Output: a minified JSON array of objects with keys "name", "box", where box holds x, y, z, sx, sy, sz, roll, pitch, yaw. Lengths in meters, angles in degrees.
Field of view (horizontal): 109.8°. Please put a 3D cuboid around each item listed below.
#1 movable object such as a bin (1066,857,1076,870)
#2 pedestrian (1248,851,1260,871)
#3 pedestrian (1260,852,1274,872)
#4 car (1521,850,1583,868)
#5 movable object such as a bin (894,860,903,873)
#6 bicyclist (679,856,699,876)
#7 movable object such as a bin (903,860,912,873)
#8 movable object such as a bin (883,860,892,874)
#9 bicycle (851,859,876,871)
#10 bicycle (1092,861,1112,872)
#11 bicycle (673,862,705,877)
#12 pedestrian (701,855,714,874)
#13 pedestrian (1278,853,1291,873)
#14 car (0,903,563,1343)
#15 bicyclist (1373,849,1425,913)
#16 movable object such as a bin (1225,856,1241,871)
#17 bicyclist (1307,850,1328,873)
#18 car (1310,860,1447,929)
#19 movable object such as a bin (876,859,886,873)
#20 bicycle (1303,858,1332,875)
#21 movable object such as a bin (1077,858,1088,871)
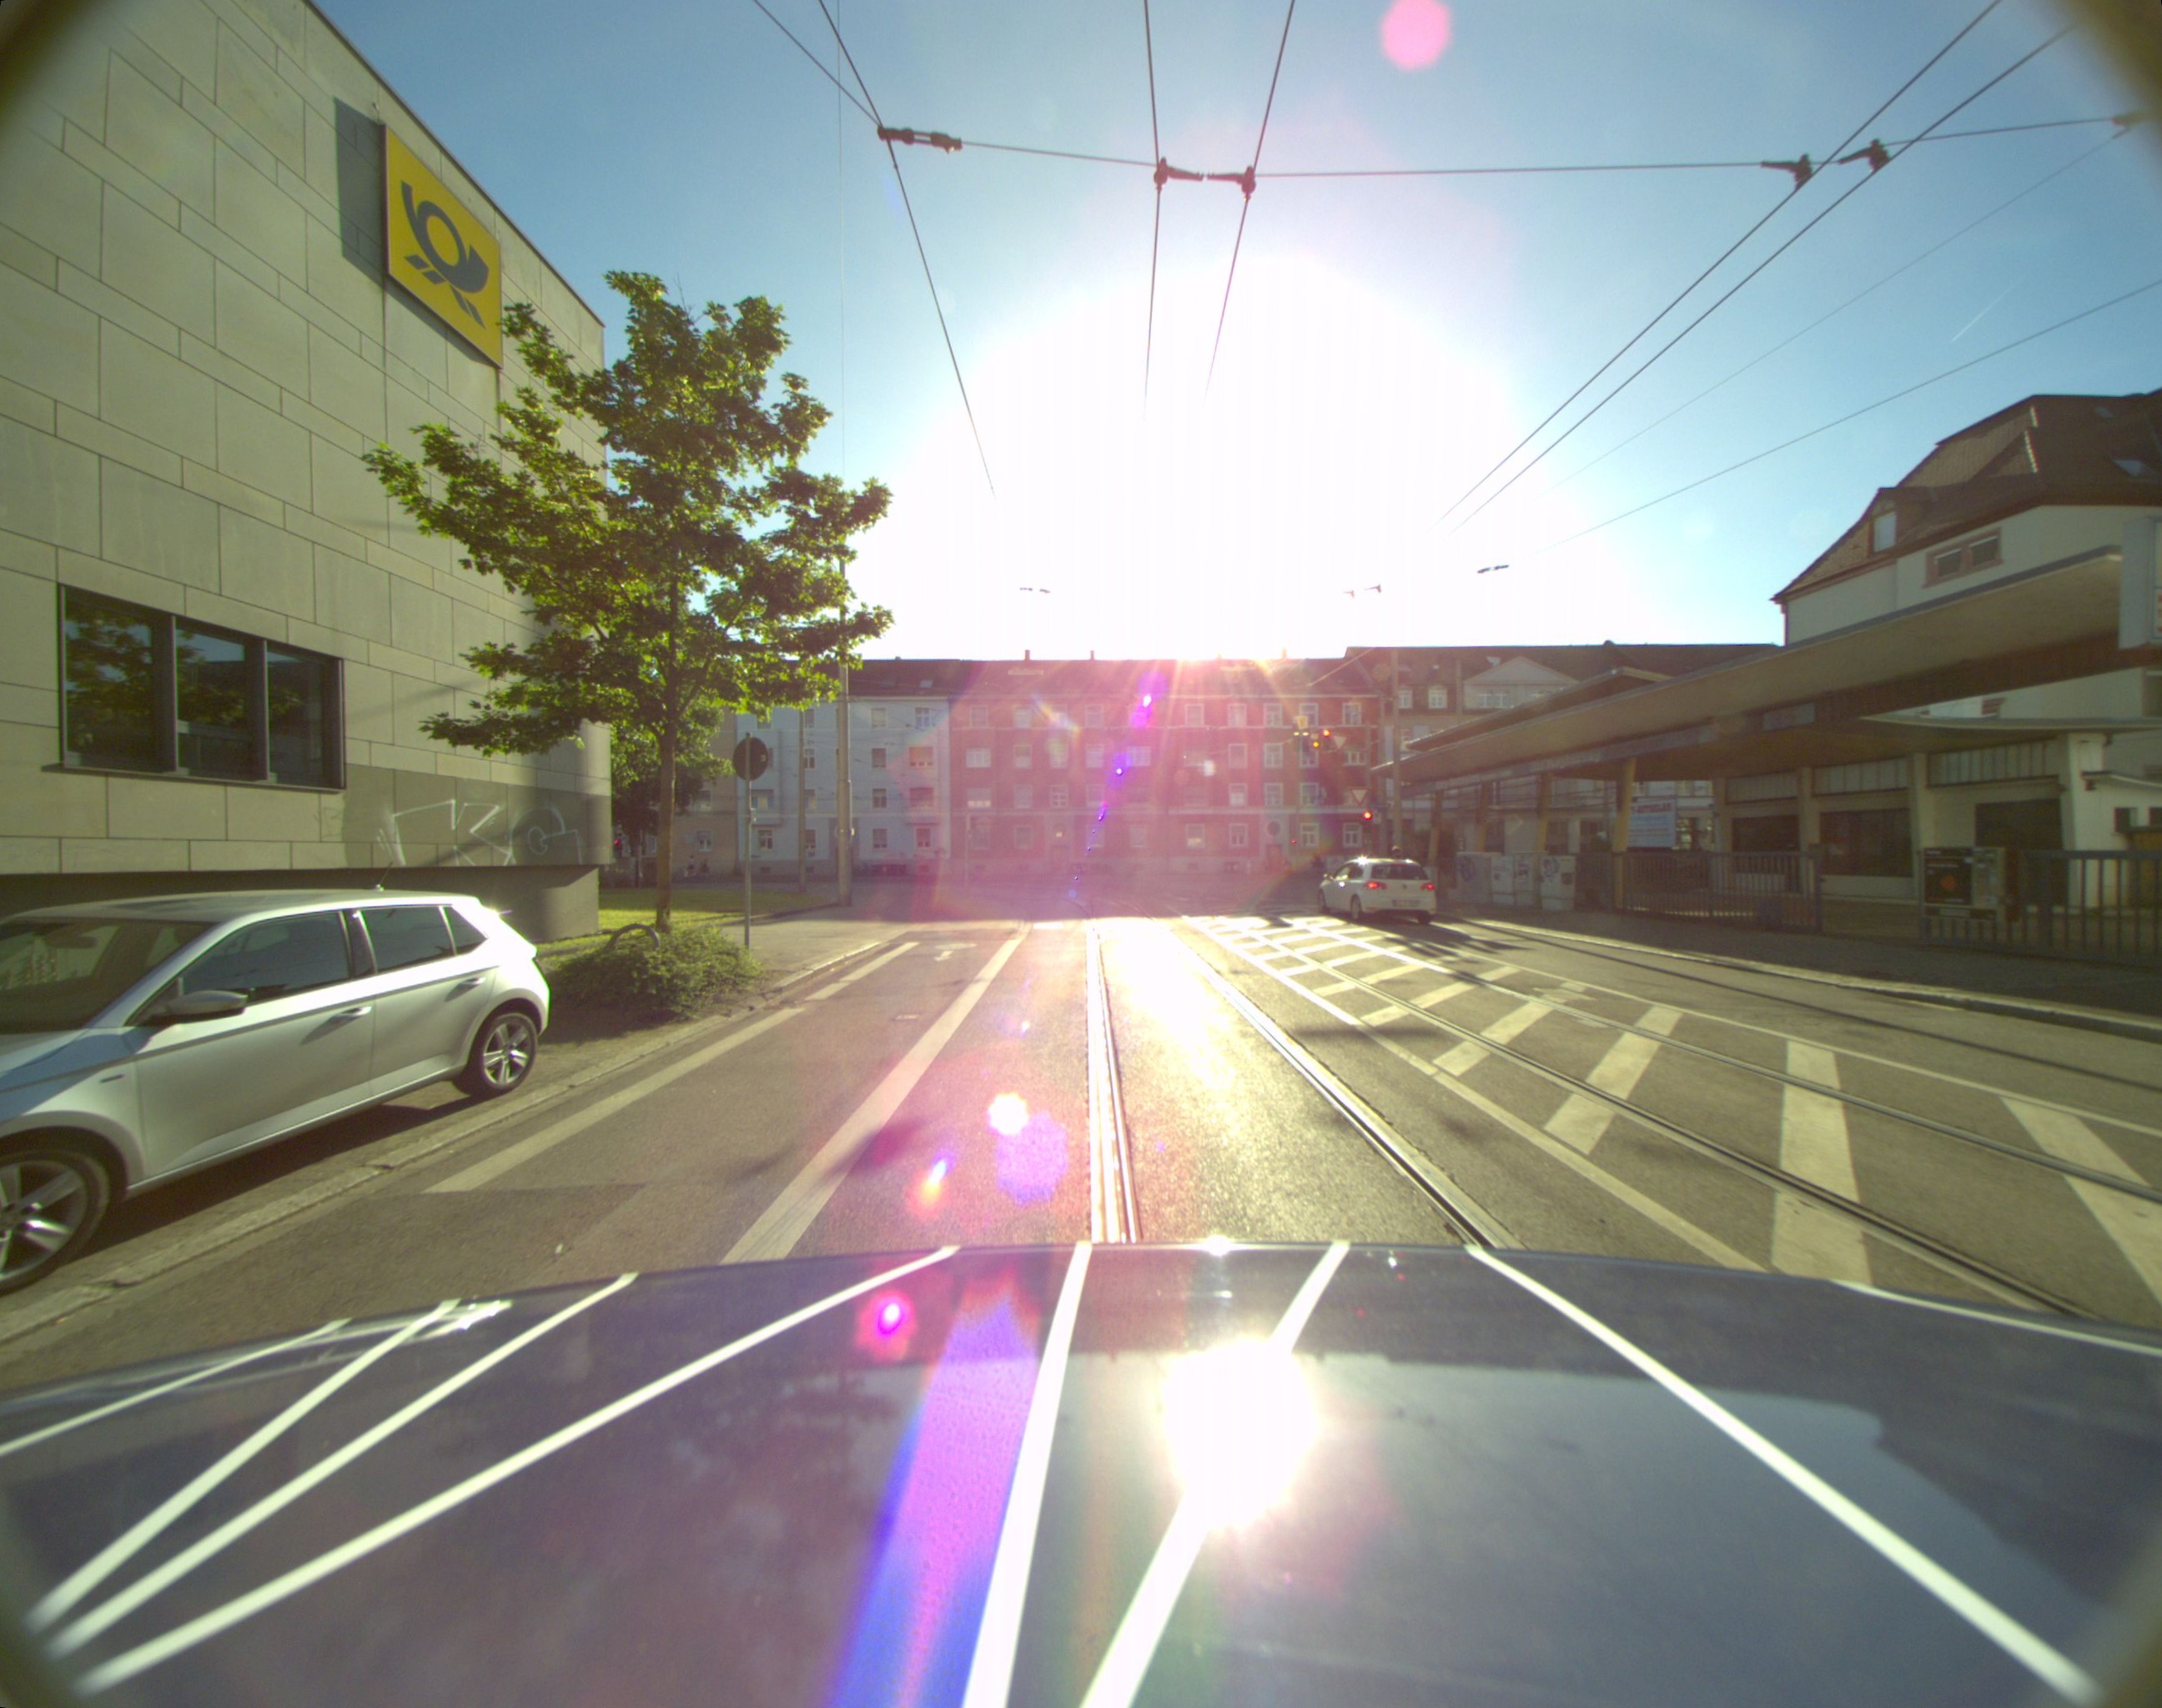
[{"name":"movable object such as a bin","box":[-0.840,0.797,63.240,0.811,1.034,0.845,0,1,-5]},{"name":"pedestrian","box":[14.389,0.589,63.180,0.655,1.624,0.794,-1,1,-22]},{"name":"pedestrian","box":[15.485,0.642,63.232,0.797,1.624,0.829,-1,1,-38]},{"name":"car","box":[37.979,0.393,61.334,3.997,1.443,1.725,-1,0,0]},{"name":"movable object such as a bin","box":[-15.230,1.048,63.373,0.582,1.100,0.704,0,1,0]},{"name":"bicyclist","box":[-31.430,0.961,60.928,1.125,1.633,0.749,0,1,0]},{"name":"movable object such as a bin","box":[-14.438,1.049,63.370,0.582,1.100,0.704,0,1,0]},{"name":"movable object such as a bin","box":[-16.140,1.085,63.325,0.582,1.100,0.704,0,1,0]},{"name":"bicycle","box":[-18.119,0.926,63.377,1.876,0.974,0.607,0,2,-1]},{"name":"bicycle","box":[1.771,1.026,63.730,1.602,0.885,0.335,0,1,4]},{"name":"bicycle","box":[-31.456,1.253,60.922,2.151,1.184,0.749,0,1,0]},{"name":"pedestrian","box":[-30.752,0.861,62.558,0.719,1.554,0.677,0,1,1]},{"name":"pedestrian","box":[16.995,0.724,63.529,0.797,1.624,0.653,-1,1,-33]},{"name":"car","box":[-4.860,1.109,3.918,1.645,1.447,3.914,0,0,1]},{"name":"bicyclist","box":[9.202,0.758,22.014,0.911,1.776,1.253,0,0,-5]},{"name":"movable object such as a bin","box":[12.734,0.816,63.619,1.232,1.242,0.874,0,0,6]},{"name":"bicyclist","box":[16.075,0.510,51.653,0.880,1.517,1.049,0,0,-16]},{"name":"car","box":[7.153,0.905,18.757,1.795,1.449,4.190,1,0,1]},{"name":"movable object such as a bin","box":[-16.609,1.011,63.221,0.648,1.100,0.704,0,1,0]},{"name":"bicycle","box":[16.051,0.860,51.699,0.896,1.119,2.062,-1,1,-16]},{"name":"movable object such as a bin","box":[0.117,0.894,63.301,0.811,1.034,0.845,0,1,-5]}]
